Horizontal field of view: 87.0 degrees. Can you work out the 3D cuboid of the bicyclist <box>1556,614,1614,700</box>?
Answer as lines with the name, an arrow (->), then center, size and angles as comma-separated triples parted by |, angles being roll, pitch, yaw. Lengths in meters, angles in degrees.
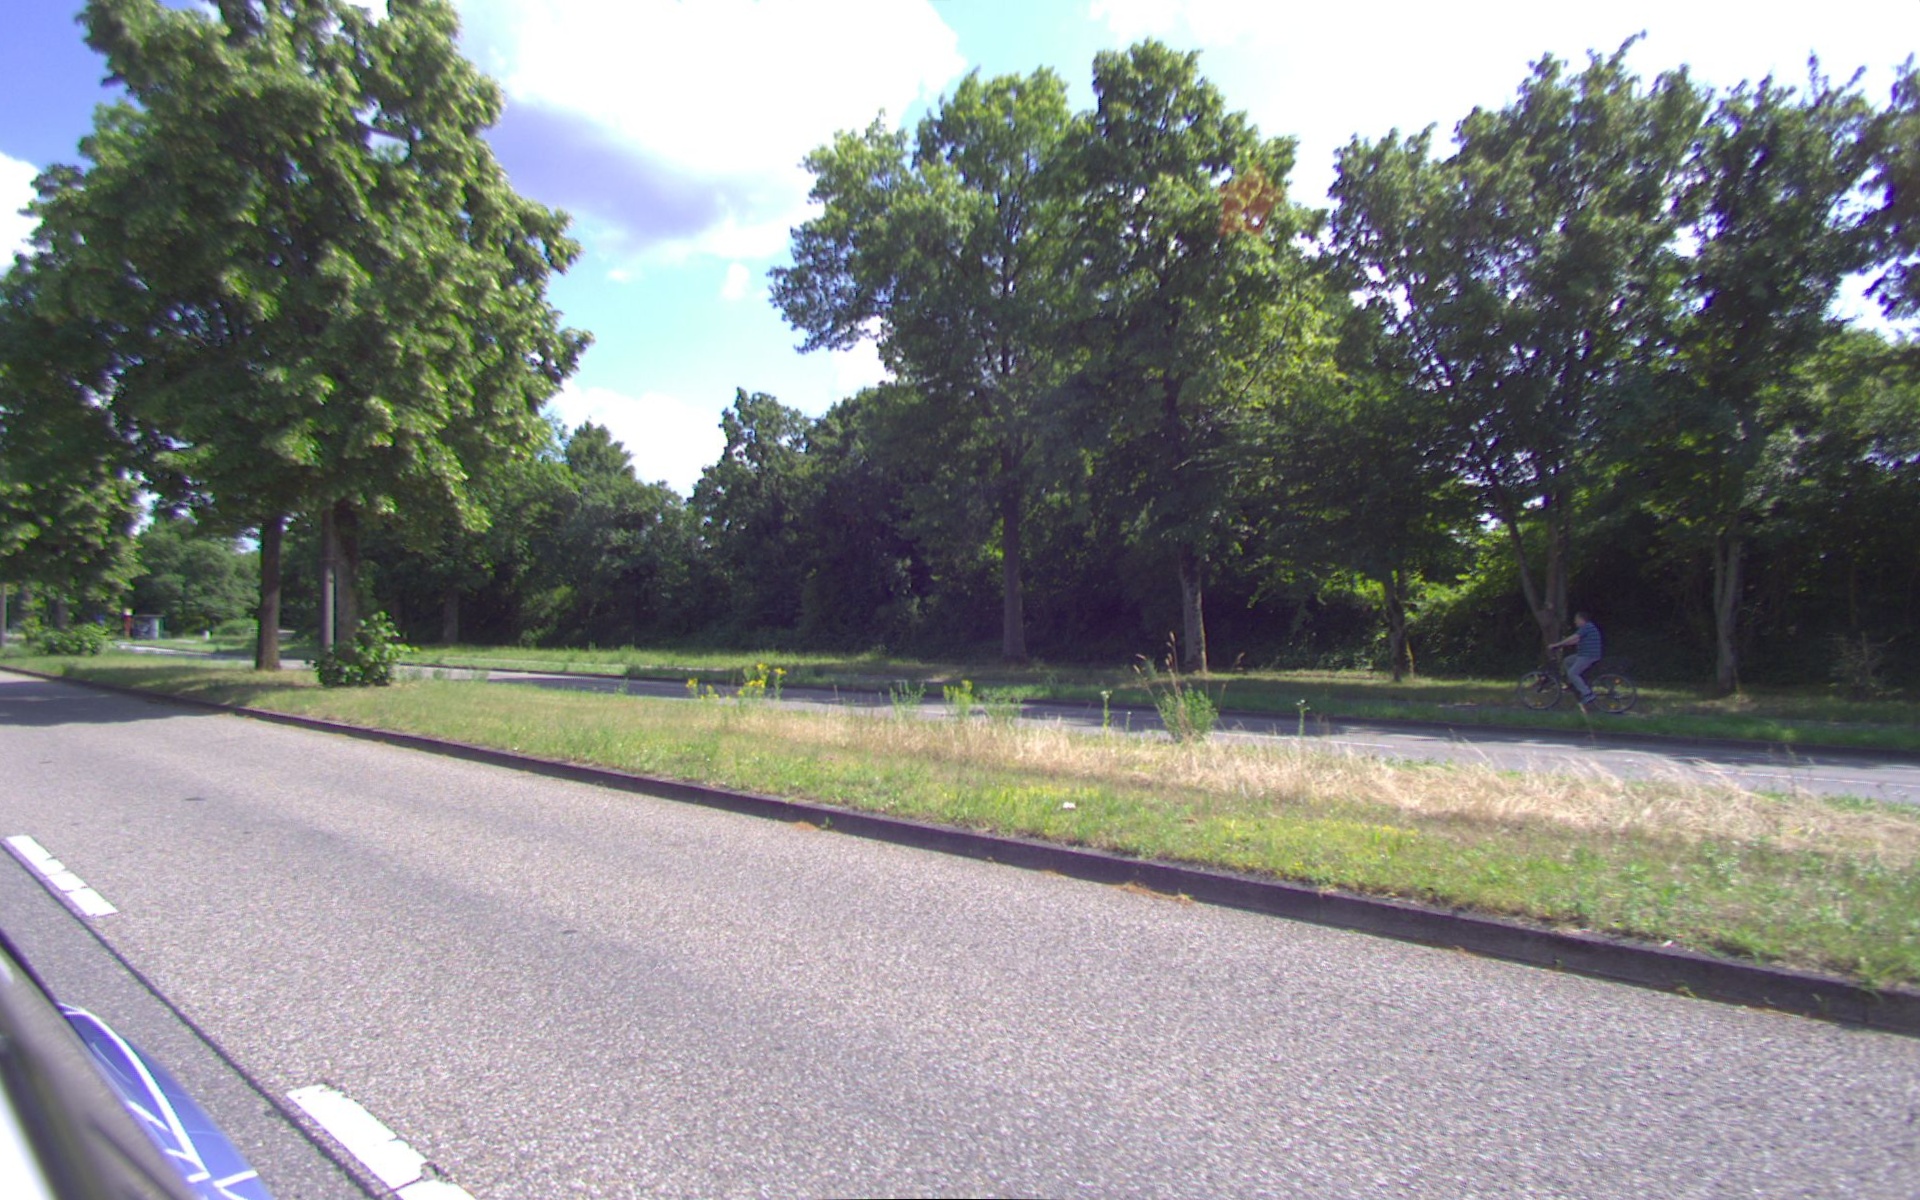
bicyclist -> 10.906, 0.989, 17.669 | 0.729, 1.459, 0.611 | -2, -2, 43

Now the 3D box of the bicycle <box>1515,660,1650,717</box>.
bicycle -> 10.855, 1.520, 17.702 | 1.915, 0.885, 0.611 | -2, -2, 43
